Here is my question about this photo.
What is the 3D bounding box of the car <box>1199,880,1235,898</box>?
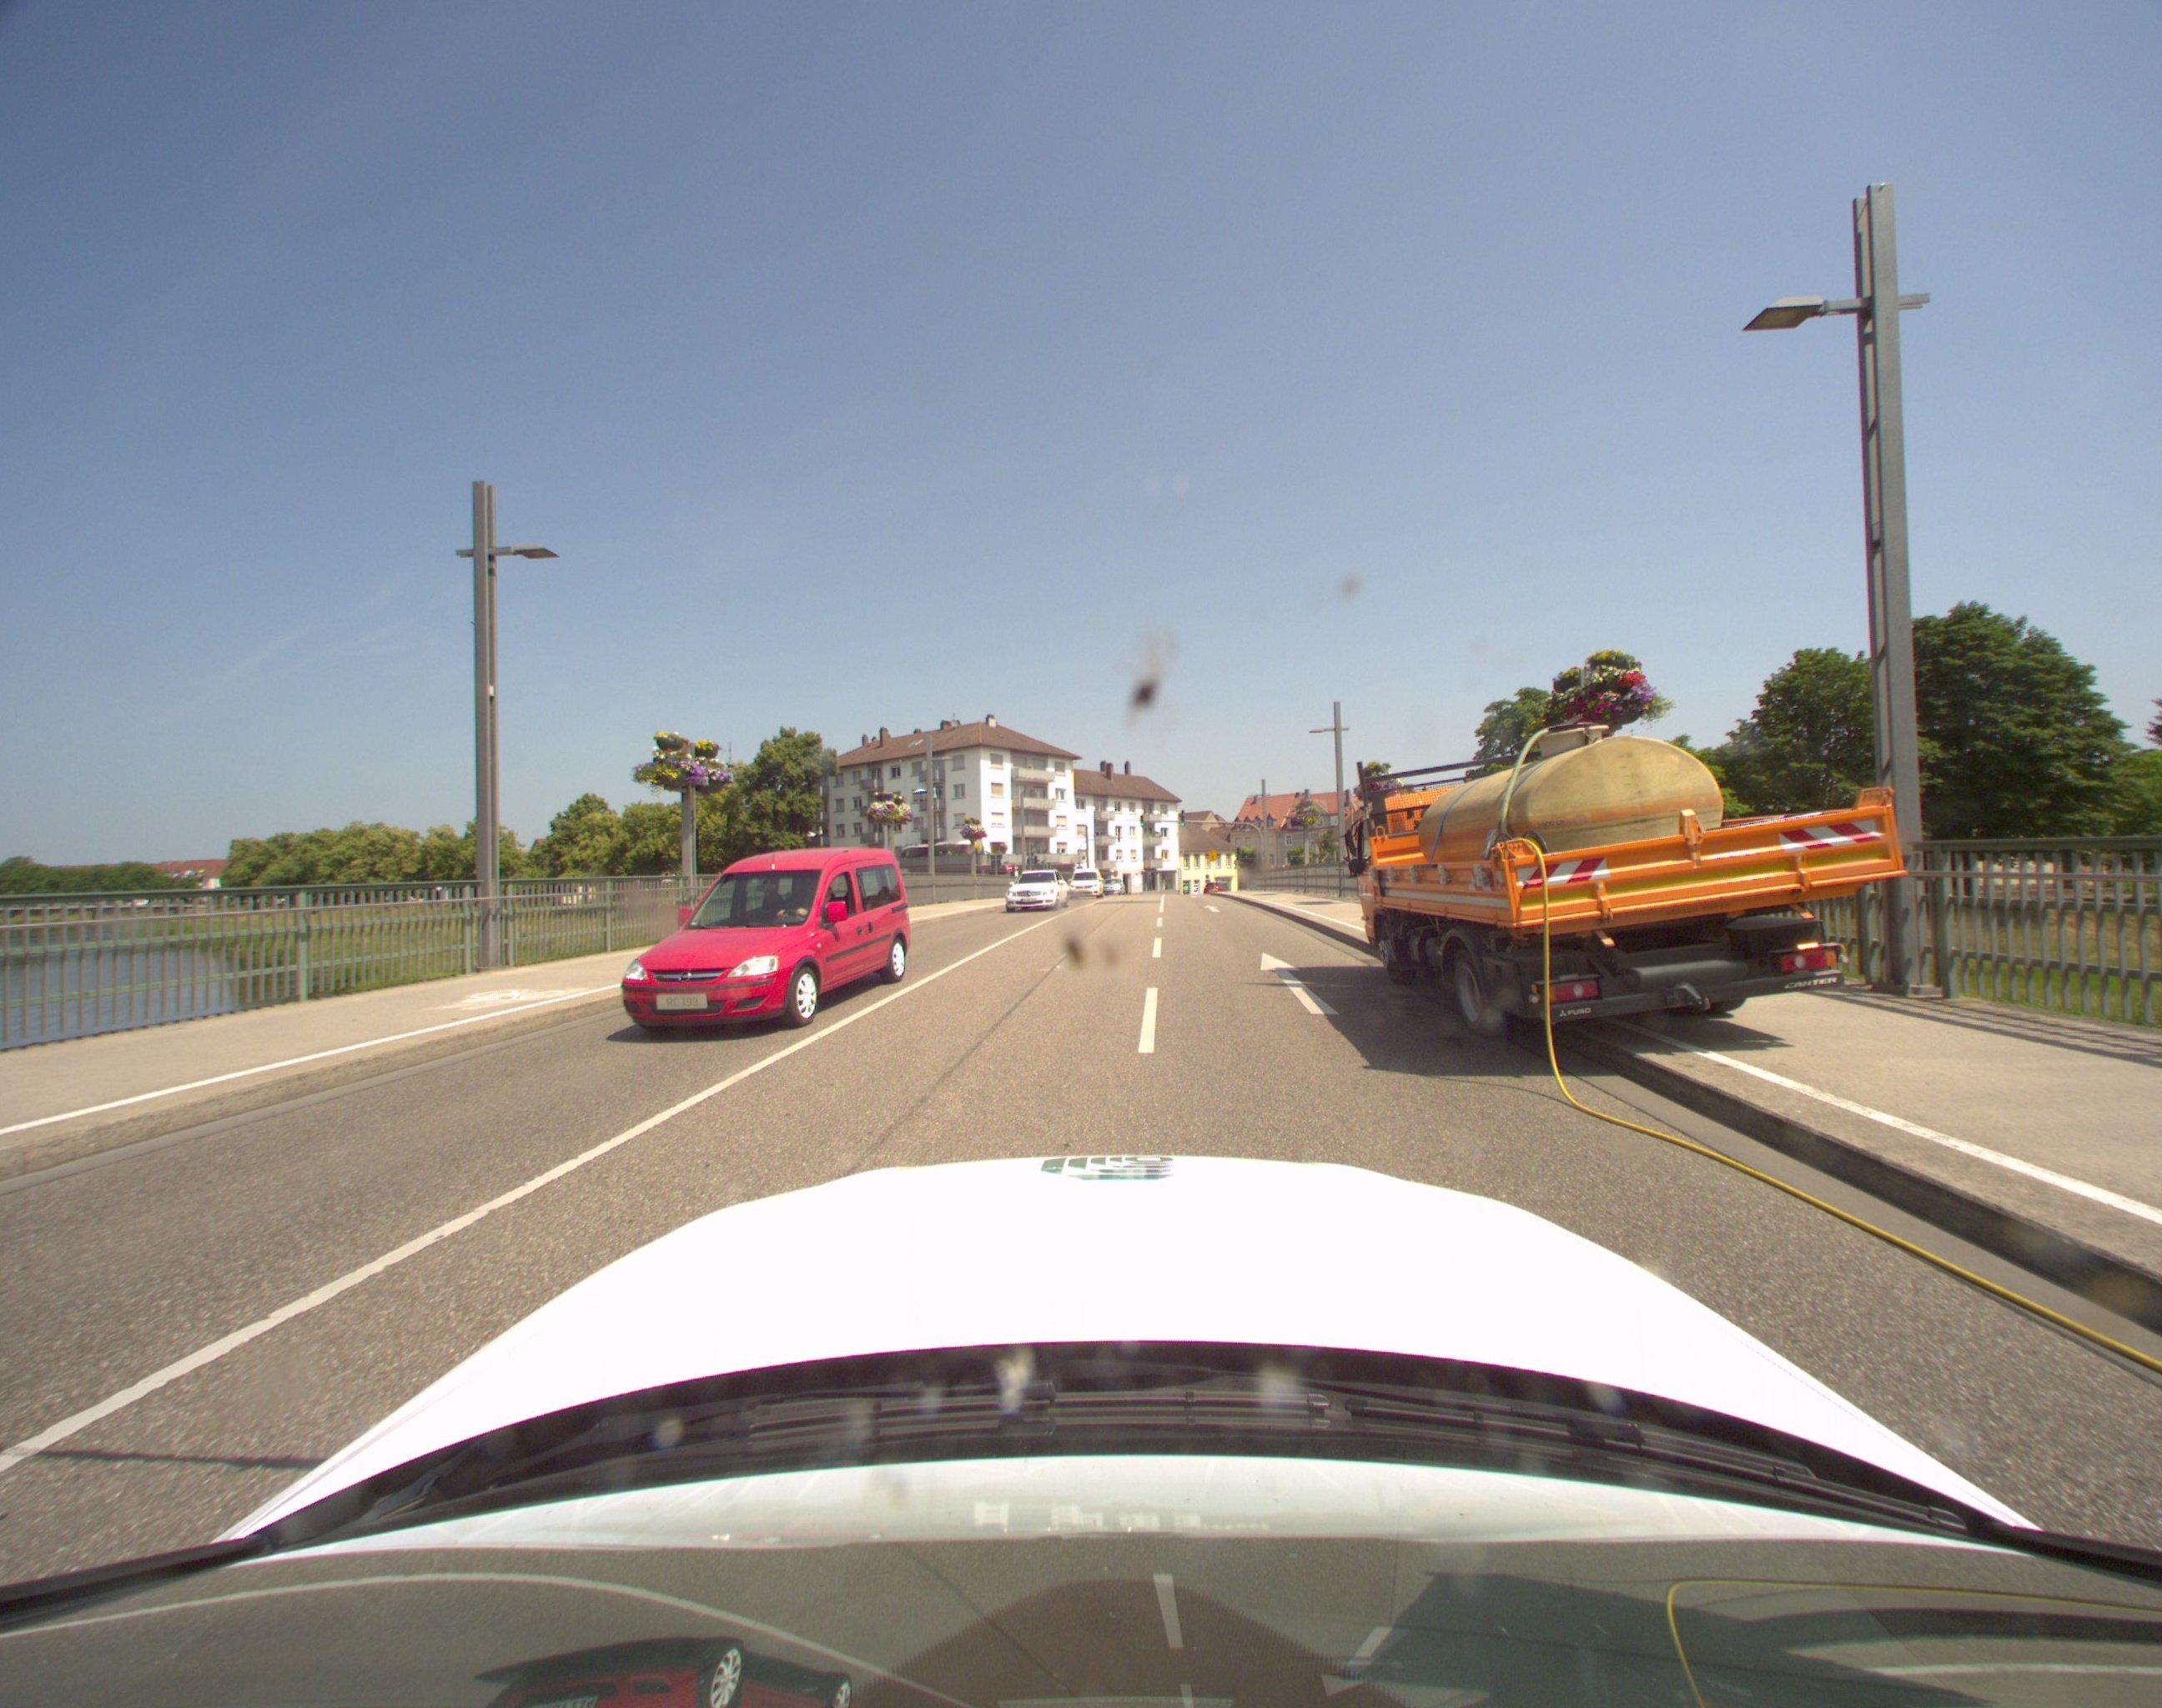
[{"bbox_3d":[13.928,3.555,83.106,1.971,1.613,4.370,-3,-1,33],"label":"car"}]

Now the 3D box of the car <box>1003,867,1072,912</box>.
[{"bbox_3d":[-1.481,1.264,29.308,1.836,1.432,4.718,-2,-3,4],"label":"car"}]

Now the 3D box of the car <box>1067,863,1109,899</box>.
[{"bbox_3d":[0.476,1.605,48.161,1.749,1.857,4.655,-5,-3,7],"label":"car"}]

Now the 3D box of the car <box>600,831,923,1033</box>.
[{"bbox_3d":[-3.338,0.759,9.510,1.727,1.777,4.182,-3,-1,5],"label":"car"}]

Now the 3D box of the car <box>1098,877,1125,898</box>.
[{"bbox_3d":[2.539,2.696,66.328,1.751,1.519,4.008,-3,-2,7],"label":"car"}]

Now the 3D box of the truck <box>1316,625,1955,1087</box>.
[{"bbox_3d":[4.253,0.055,8.000,2.593,2.691,5.833,-5,-1,6],"label":"truck"}]
